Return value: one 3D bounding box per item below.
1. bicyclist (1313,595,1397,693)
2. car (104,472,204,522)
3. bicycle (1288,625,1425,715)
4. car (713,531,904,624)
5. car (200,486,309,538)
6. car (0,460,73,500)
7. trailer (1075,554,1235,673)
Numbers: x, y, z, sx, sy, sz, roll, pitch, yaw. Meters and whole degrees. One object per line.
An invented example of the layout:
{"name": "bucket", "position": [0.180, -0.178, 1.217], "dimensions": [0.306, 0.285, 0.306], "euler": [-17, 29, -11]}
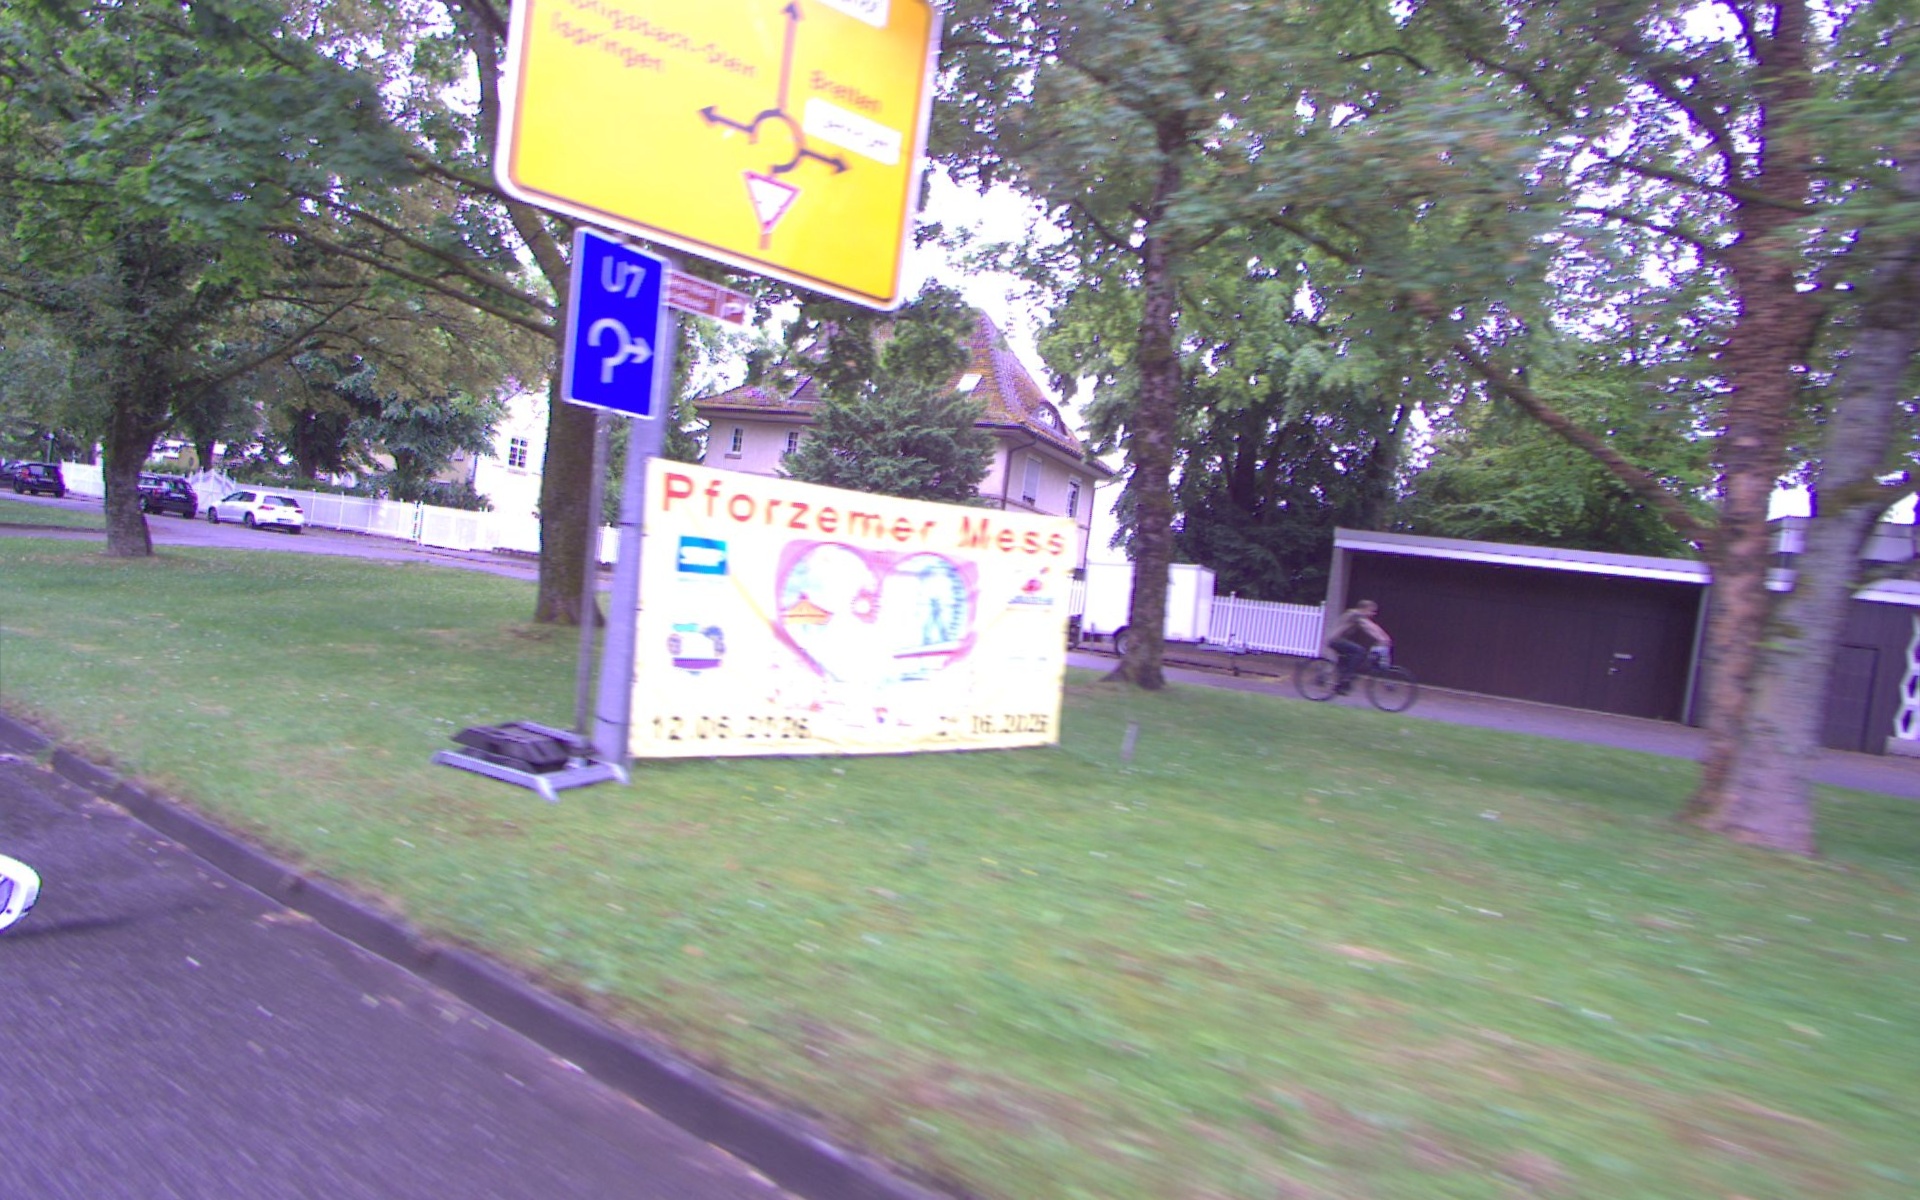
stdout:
{"name": "bicyclist", "position": [6.240, 0.695, 15.871], "dimensions": [0.983, 1.408, 0.745], "euler": [7, 1, 31]}
{"name": "car", "position": [-33.451, -4.271, 41.735], "dimensions": [4.041, 1.550, 1.804], "euler": [8, 2, 29]}
{"name": "bicycle", "position": [6.230, 1.084, 15.842], "dimensions": [1.832, 1.153, 0.596], "euler": [7, 1, 32]}
{"name": "car", "position": [-3.985, -0.597, 26.346], "dimensions": [4.568, 1.833, 1.943], "euler": [8, 3, 28]}
{"name": "car", "position": [-26.840, -3.348, 38.249], "dimensions": [3.939, 1.428, 1.618], "euler": [8, 2, 26]}
{"name": "car", "position": [-43.798, -5.694, 47.347], "dimensions": [4.041, 1.430, 1.804], "euler": [8, 2, 29]}
{"name": "trailer", "position": [4.205, 0.281, 21.670], "dimensions": [2.898, 2.182, 1.439], "euler": [7, 1, 26]}
